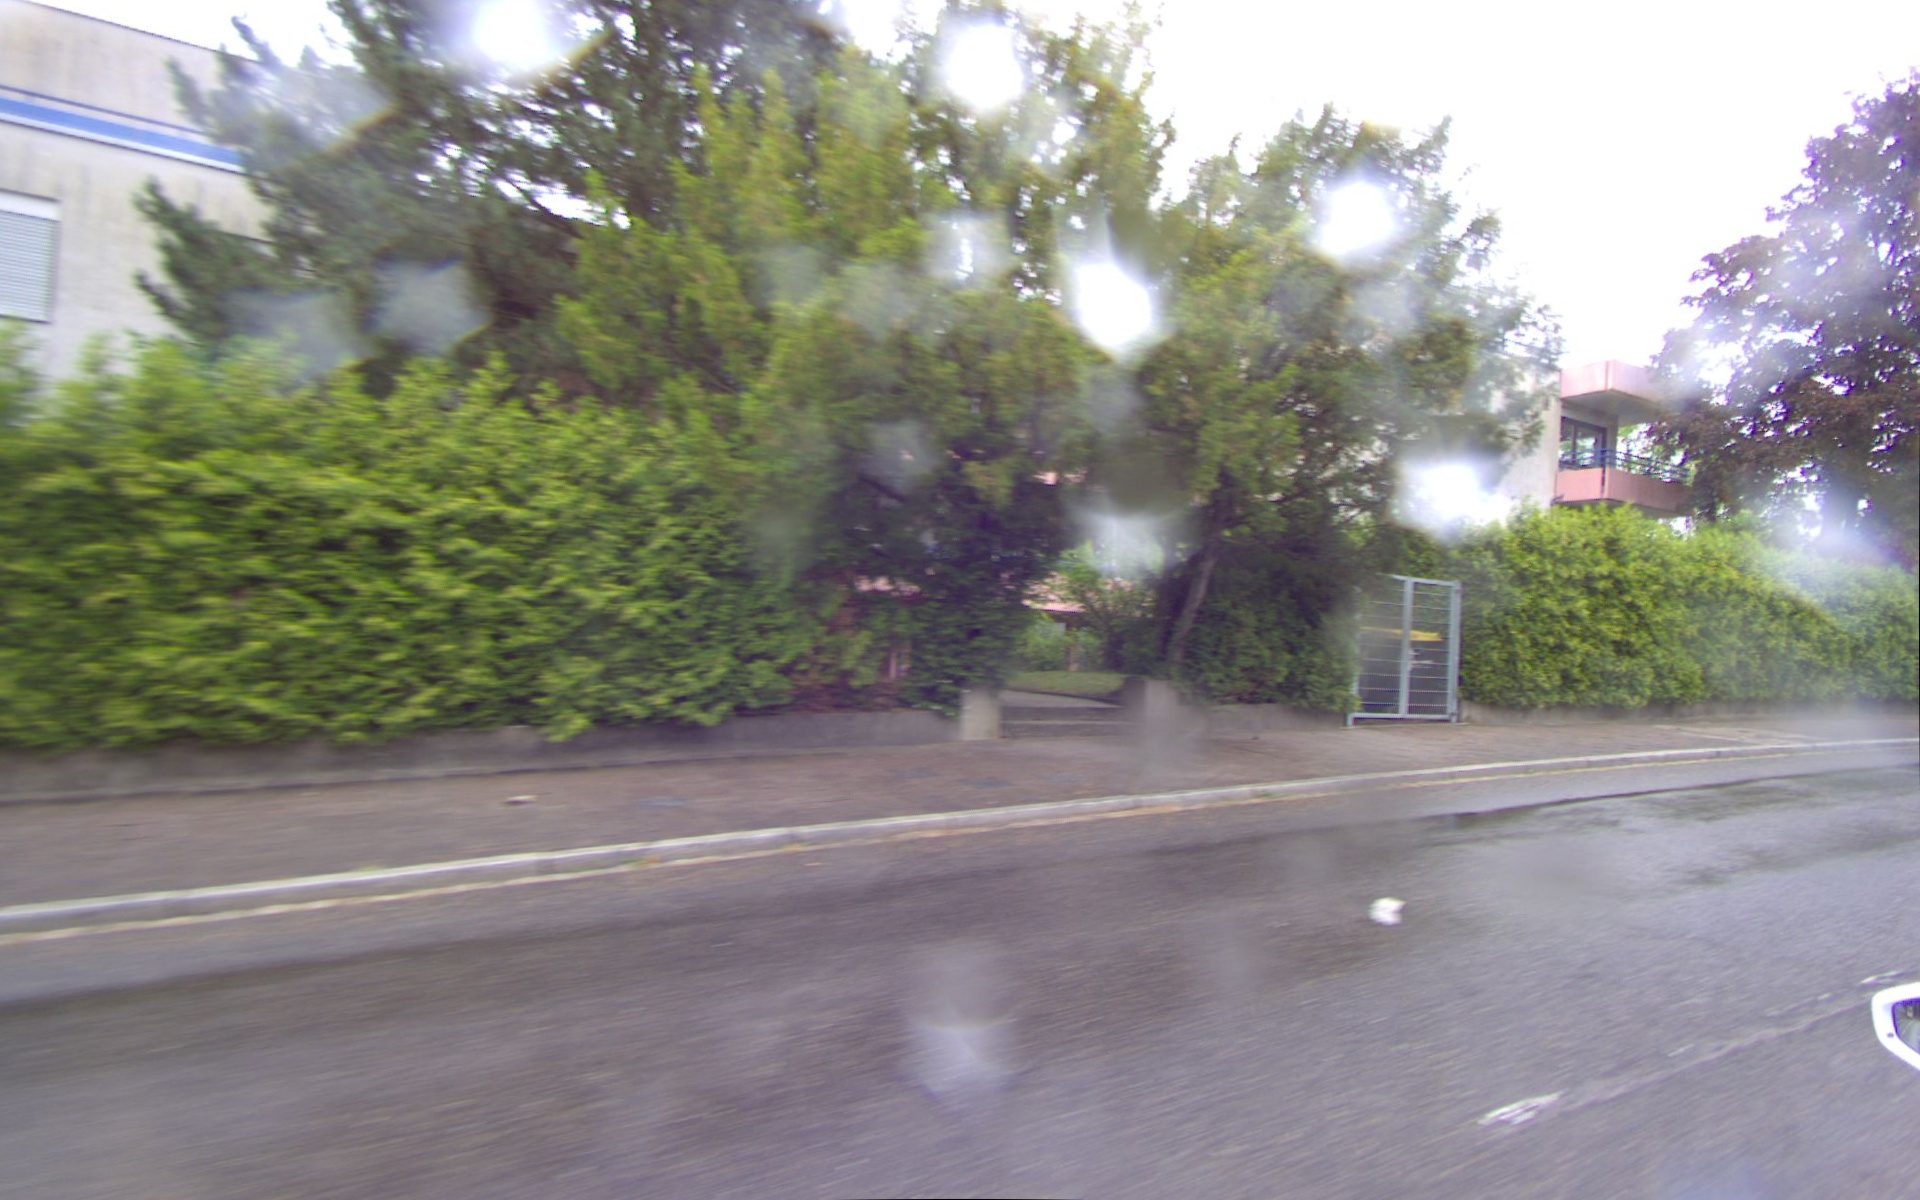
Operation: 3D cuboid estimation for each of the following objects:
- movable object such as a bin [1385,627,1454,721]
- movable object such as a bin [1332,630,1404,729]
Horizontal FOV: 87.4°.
[{"bbox_3d":[6.863,1.094,15.016,0.796,1.344,0.545,1,1,-29],"label":"movable object such as a bin"},{"bbox_3d":[5.803,1.112,14.294,0.796,1.344,0.545,1,1,-29],"label":"movable object such as a bin"}]
